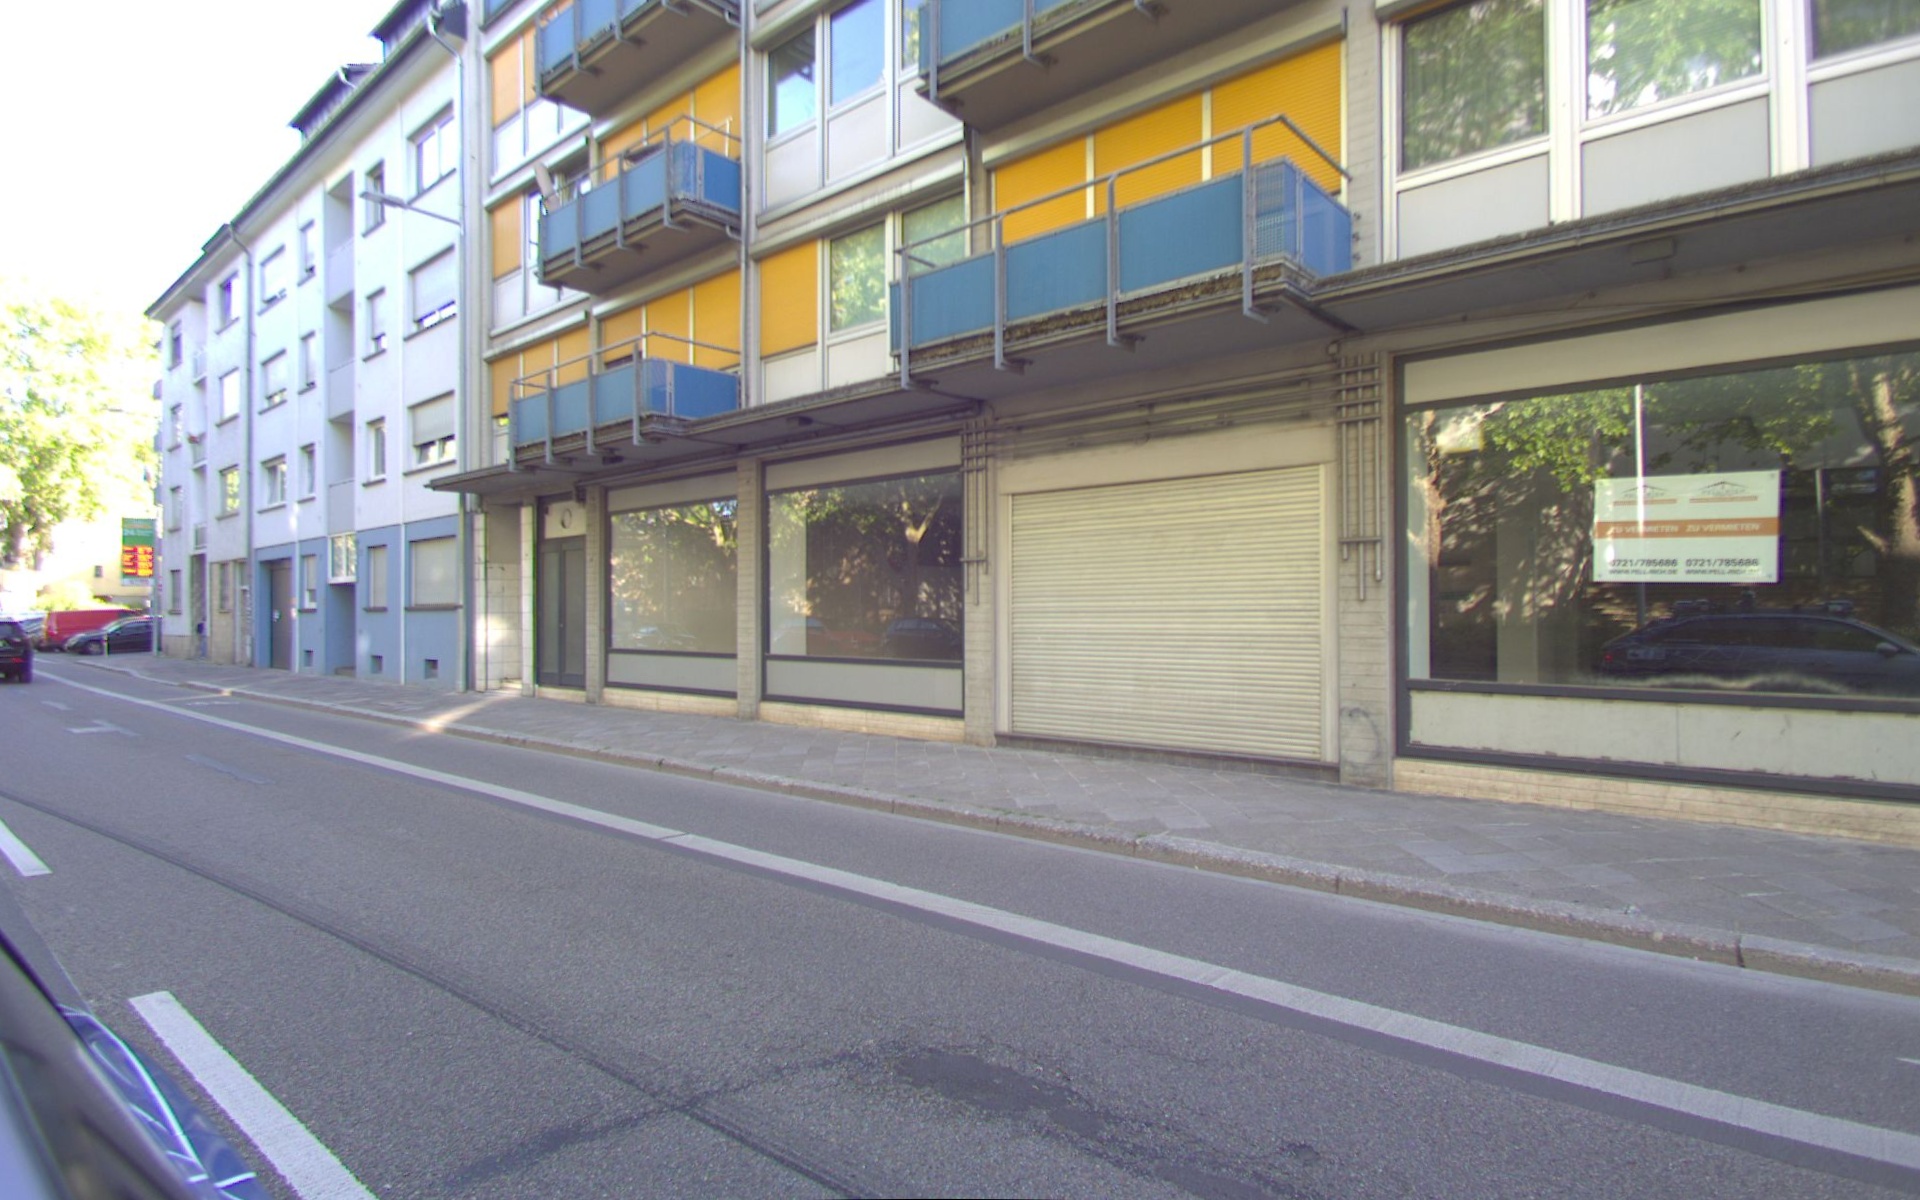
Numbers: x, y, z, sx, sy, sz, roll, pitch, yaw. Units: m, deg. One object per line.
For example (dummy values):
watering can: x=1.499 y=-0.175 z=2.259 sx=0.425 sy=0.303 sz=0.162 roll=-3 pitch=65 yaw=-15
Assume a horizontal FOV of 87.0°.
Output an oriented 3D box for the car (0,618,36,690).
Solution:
car: x=-24.551 y=1.290 z=25.161 sx=3.998 sy=1.690 sz=1.823 roll=-1 pitch=-3 yaw=41

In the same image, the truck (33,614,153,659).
truck: x=-40.711 y=1.657 z=47.575 sx=1.999 sy=1.939 sz=4.040 roll=-1 pitch=0 yaw=40

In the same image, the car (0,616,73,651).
car: x=-59.328 y=2.106 z=64.400 sx=2.000 sy=2.052 sz=4.180 roll=-1 pitch=0 yaw=43

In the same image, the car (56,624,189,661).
car: x=-36.480 y=1.802 z=44.157 sx=1.657 sy=1.417 sz=4.269 roll=-1 pitch=0 yaw=40

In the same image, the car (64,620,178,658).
car: x=-38.031 y=1.739 z=45.940 sx=1.657 sy=1.583 sz=3.762 roll=-1 pitch=0 yaw=41
